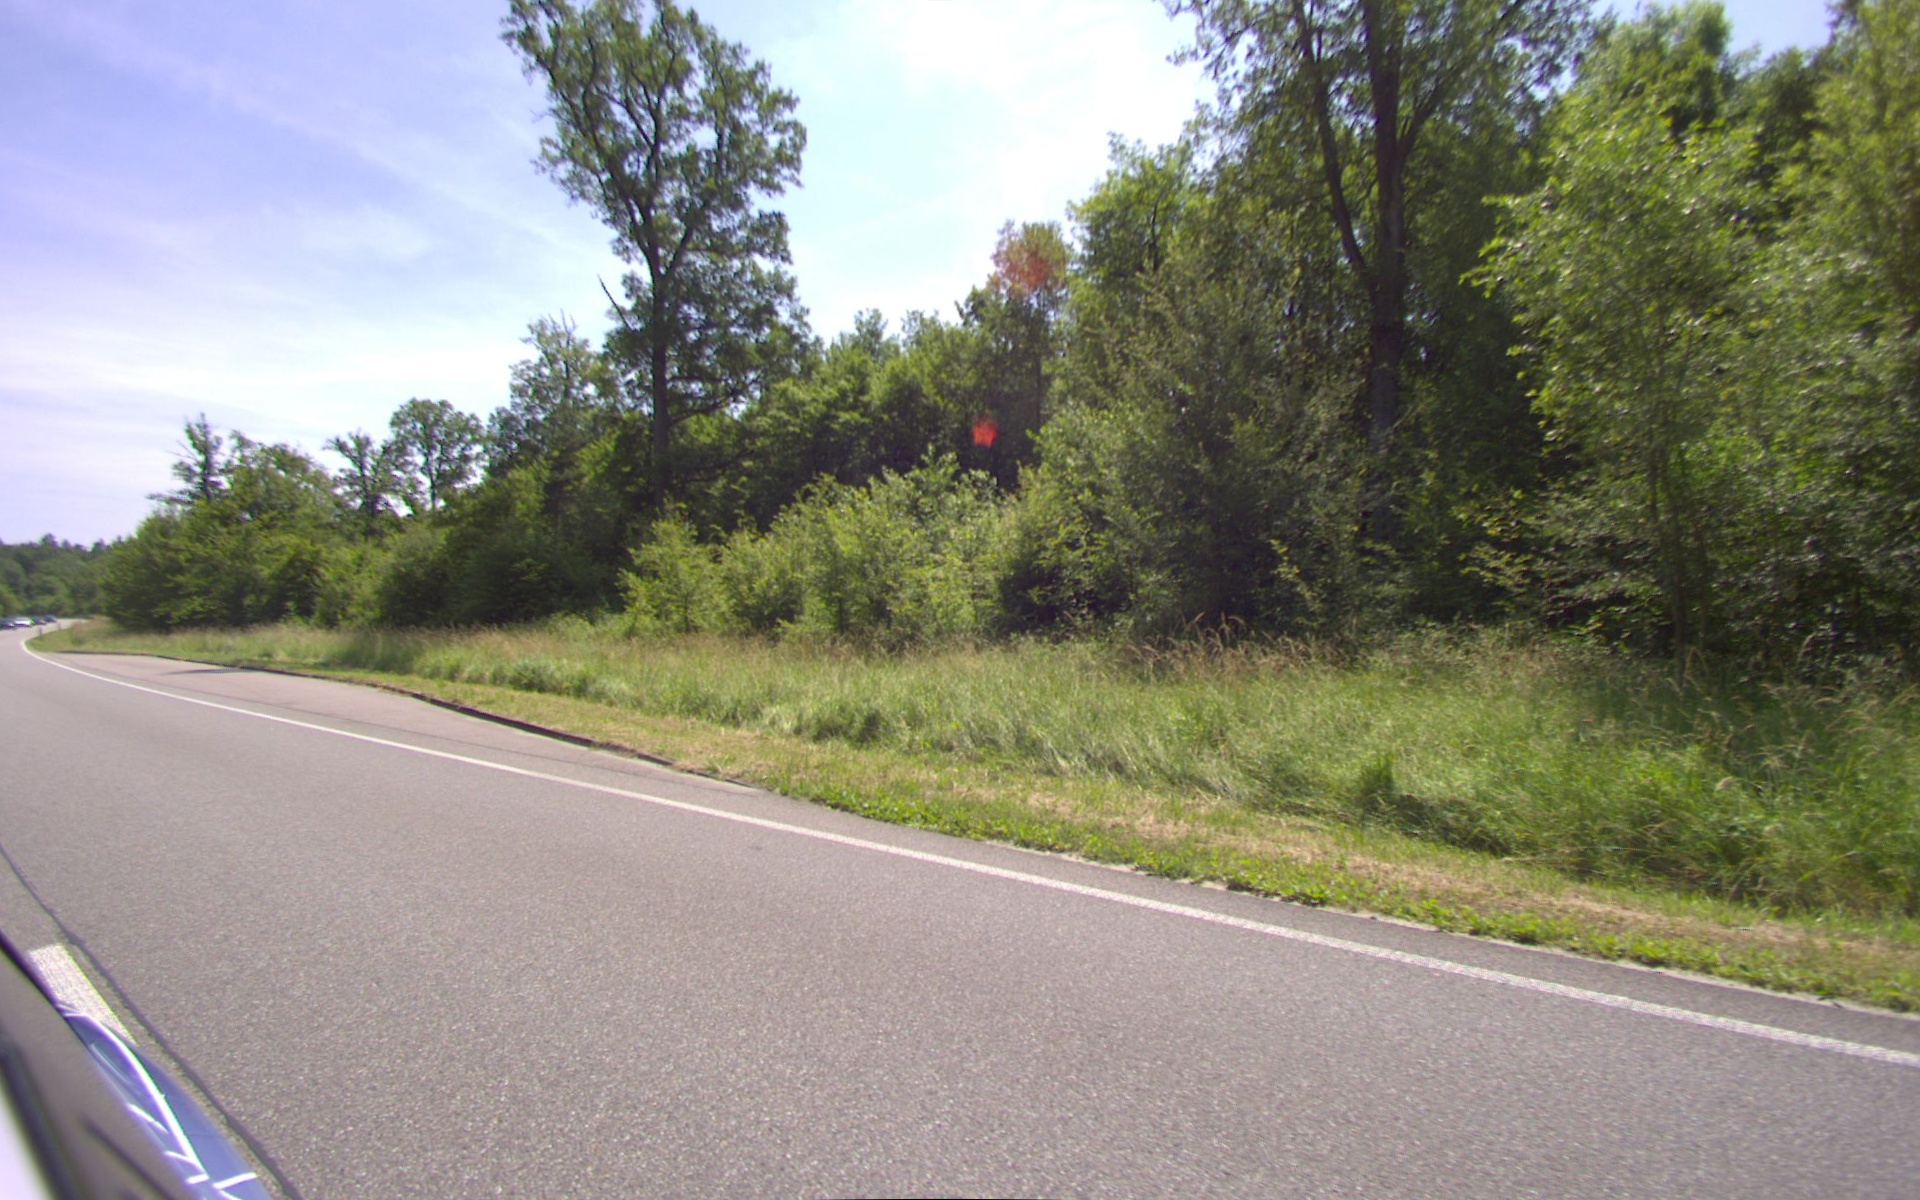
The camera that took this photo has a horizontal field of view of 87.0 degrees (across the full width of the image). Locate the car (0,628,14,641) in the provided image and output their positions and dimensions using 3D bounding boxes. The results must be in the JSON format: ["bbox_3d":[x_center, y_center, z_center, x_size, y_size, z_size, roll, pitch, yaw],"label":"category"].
[{"bbox_3d":[-118.285,4.264,125.170,1.750,1.474,4.004,0,-1,-43],"label":"car"}]

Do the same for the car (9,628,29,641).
[{"bbox_3d":[-136.504,4.954,146.864,1.989,1.761,4.387,0,-1,-41],"label":"car"}]
